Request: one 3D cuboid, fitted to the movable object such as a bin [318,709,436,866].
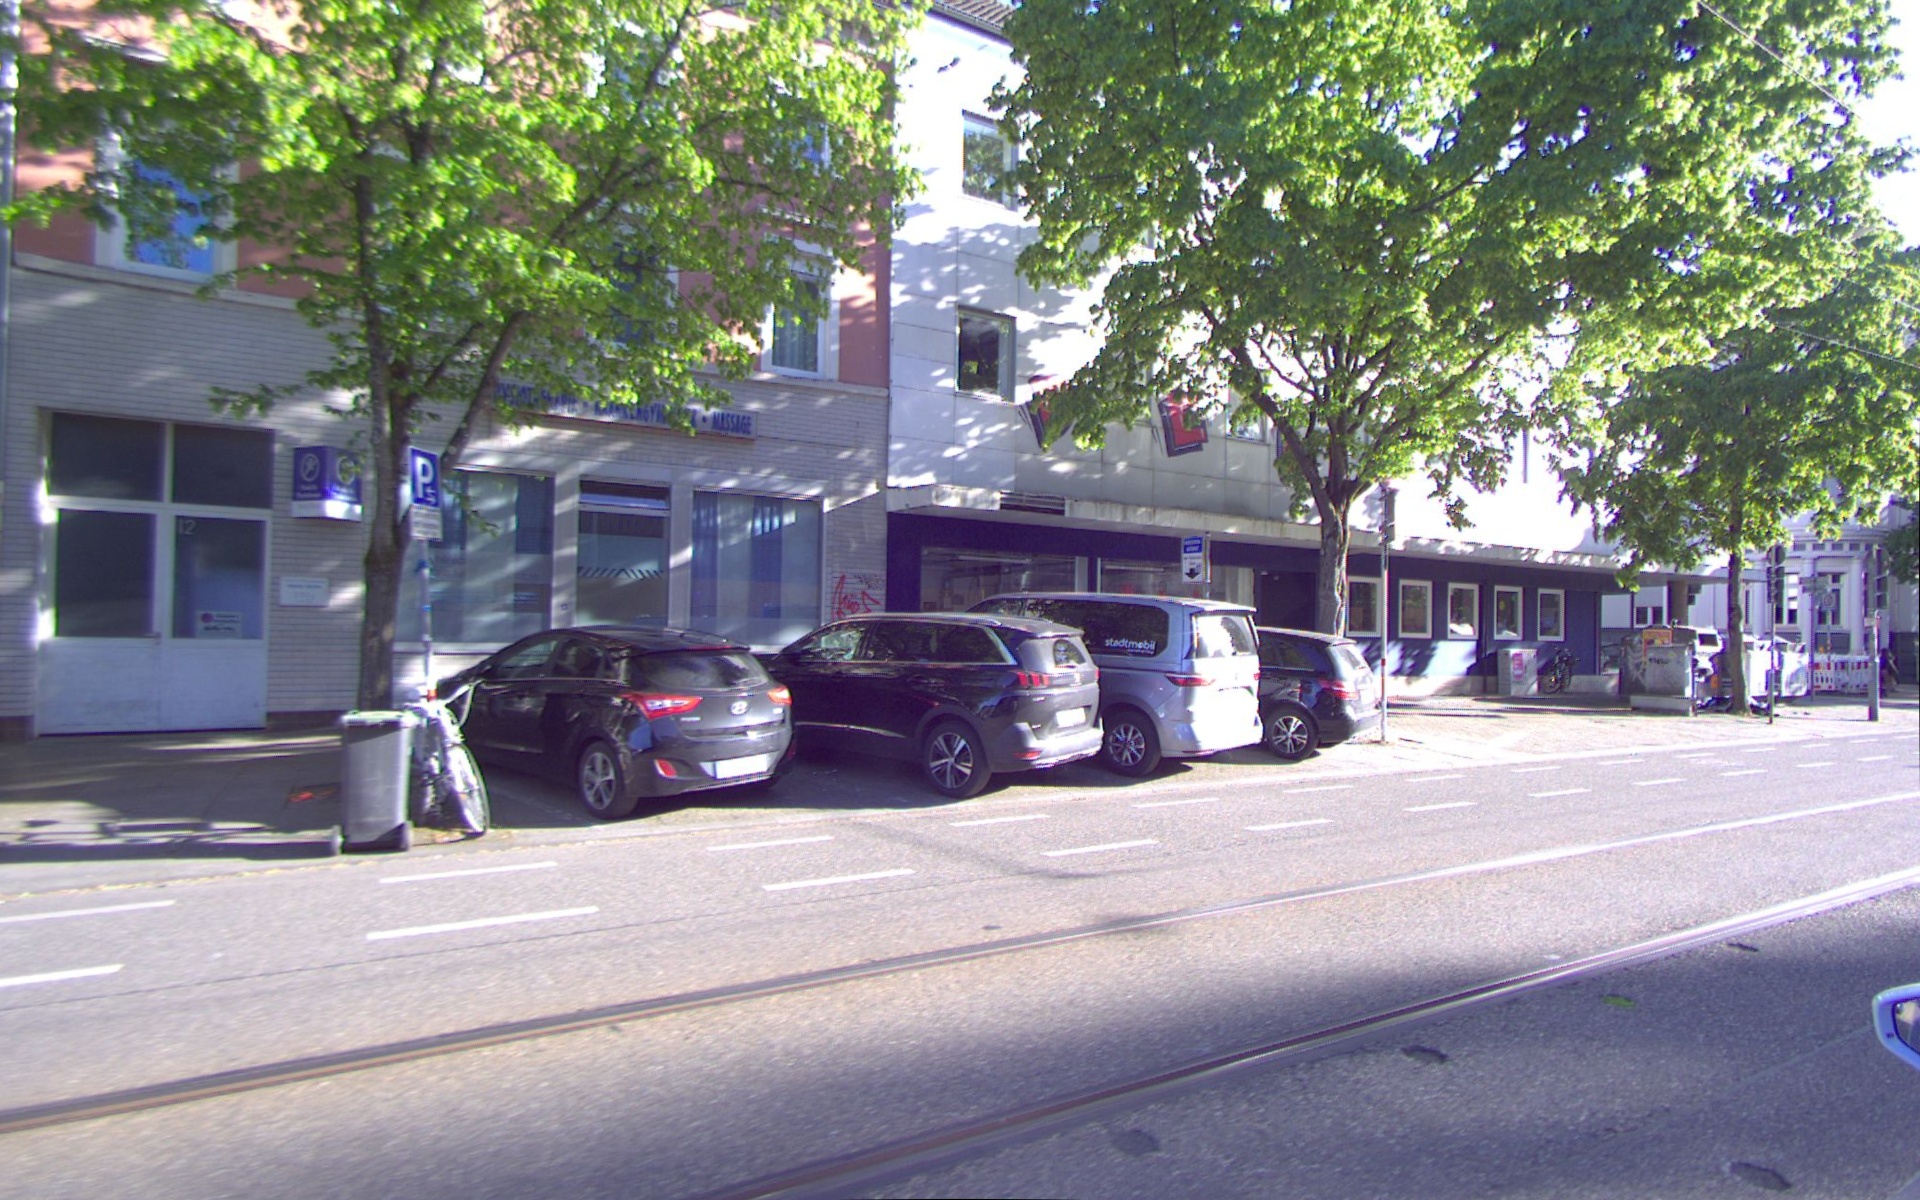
[{"bbox_3d":[-4.037,1.267,6.956,0.569,0.925,0.572,3,1,44],"label":"movable object such as a bin"}]

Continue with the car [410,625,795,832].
[{"bbox_3d":[-3.461,1.013,9.400,3.814,1.496,1.833,-1,-2,43],"label":"car"}]

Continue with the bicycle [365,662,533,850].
[{"bbox_3d":[-4.017,1.138,7.819,1.944,1.159,0.490,2,0,43],"label":"bicycle"}]

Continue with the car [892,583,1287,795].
[{"bbox_3d":[1.443,0.894,12.138,4.301,2.013,1.941,3,0,39],"label":"car"}]

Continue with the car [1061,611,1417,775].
[{"bbox_3d":[3.721,1.119,13.700,4.227,1.688,1.905,3,0,37],"label":"car"}]

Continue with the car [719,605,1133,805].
[{"bbox_3d":[-0.469,0.973,10.577,4.183,1.707,1.804,-1,-3,38],"label":"car"}]

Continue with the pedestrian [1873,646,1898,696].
[{"bbox_3d":[29.616,2.263,32.149,0.502,1.593,0.346,1,-1,-2],"label":"pedestrian"}]

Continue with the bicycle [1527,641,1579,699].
[{"bbox_3d":[14.617,1.711,24.730,2.169,1.361,0.520,3,-2,-43],"label":"bicycle"}]
